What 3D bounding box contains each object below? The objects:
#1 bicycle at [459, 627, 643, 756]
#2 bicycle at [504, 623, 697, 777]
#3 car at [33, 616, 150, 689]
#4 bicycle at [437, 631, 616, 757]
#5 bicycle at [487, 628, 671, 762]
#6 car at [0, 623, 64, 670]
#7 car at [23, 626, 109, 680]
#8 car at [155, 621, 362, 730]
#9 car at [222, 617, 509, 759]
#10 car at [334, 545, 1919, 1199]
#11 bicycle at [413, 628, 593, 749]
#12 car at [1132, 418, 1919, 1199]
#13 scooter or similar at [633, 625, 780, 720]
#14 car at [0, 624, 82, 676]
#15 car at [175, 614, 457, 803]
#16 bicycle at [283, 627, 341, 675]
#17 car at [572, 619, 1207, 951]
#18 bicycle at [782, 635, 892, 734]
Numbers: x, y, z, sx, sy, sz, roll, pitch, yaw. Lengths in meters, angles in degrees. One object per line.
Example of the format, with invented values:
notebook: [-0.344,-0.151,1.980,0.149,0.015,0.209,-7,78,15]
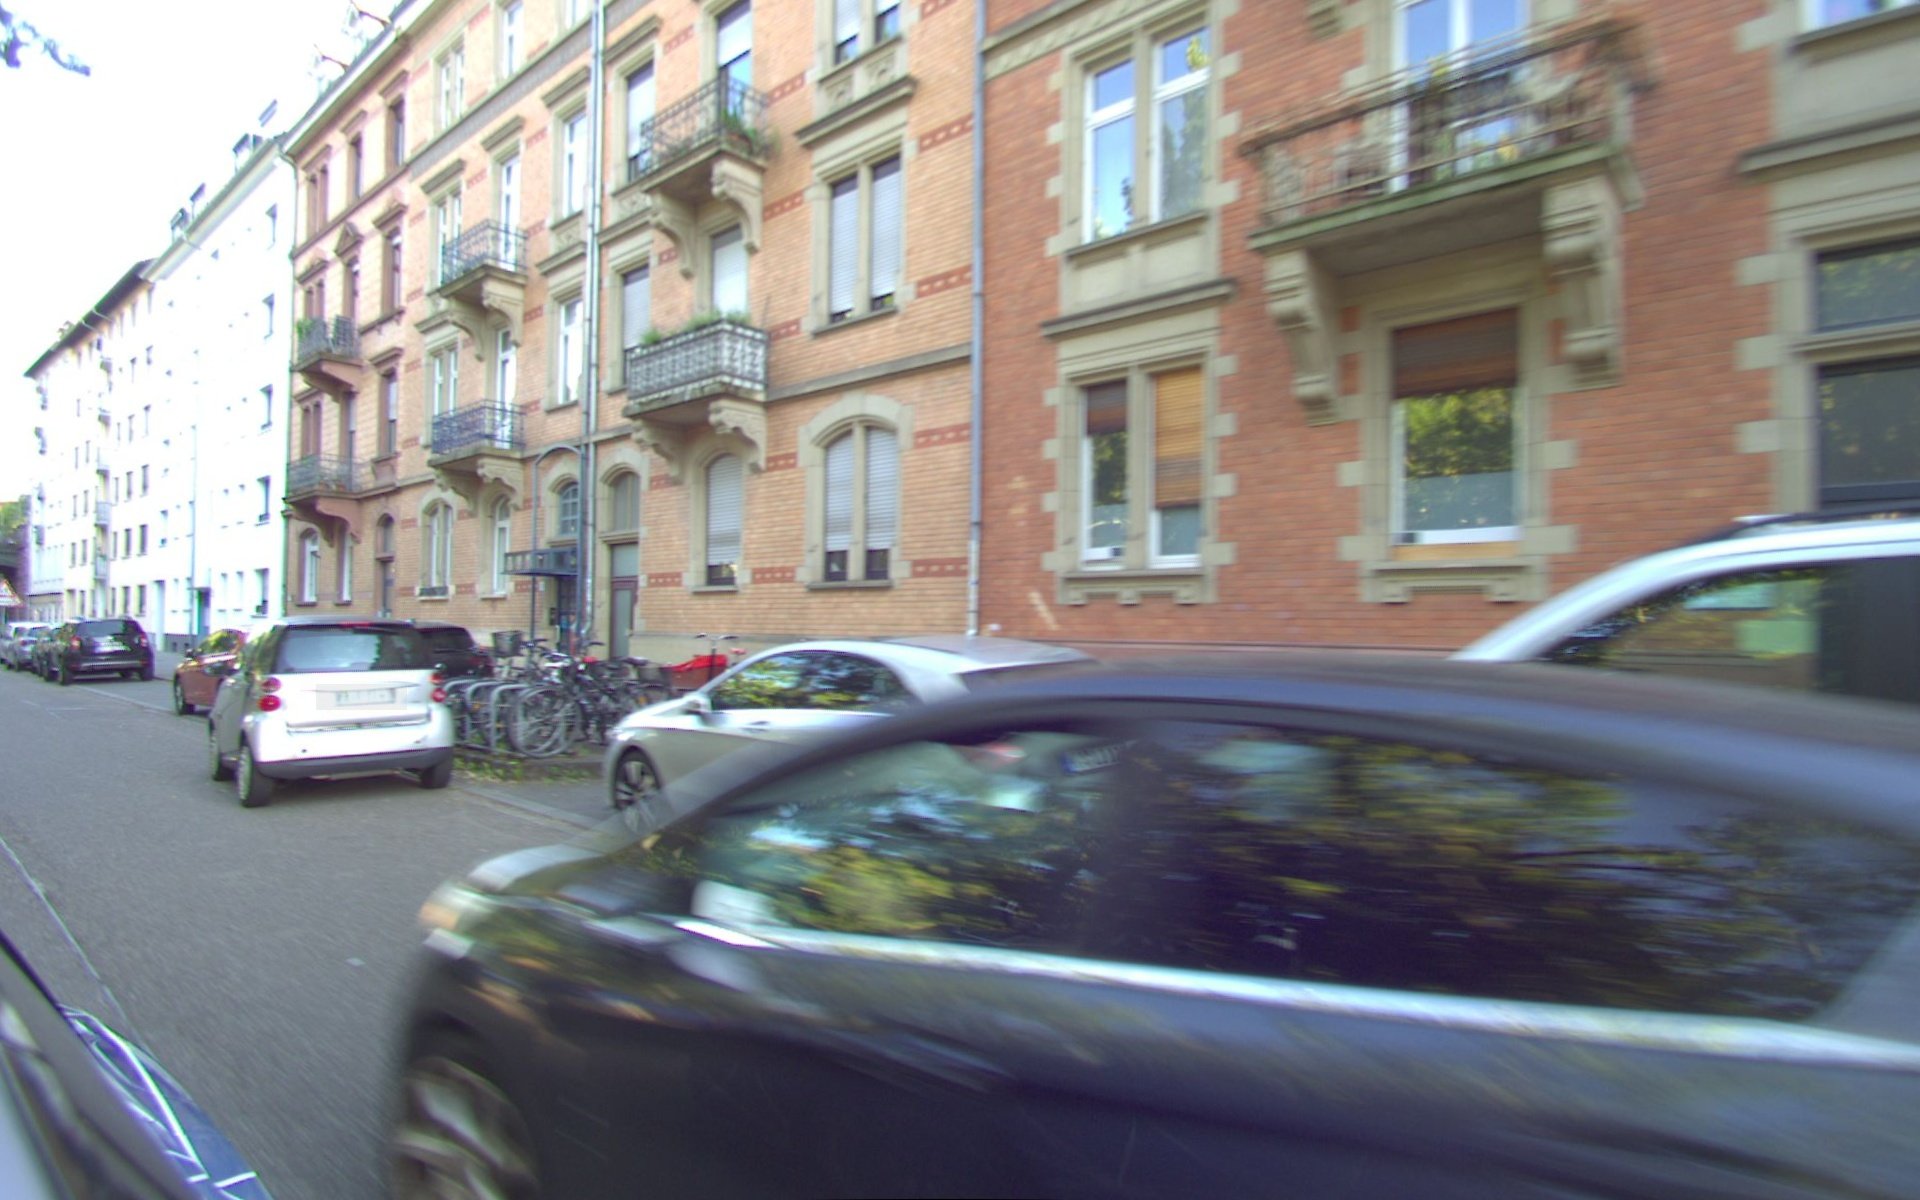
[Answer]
bicycle: [-4.232,0.905,10.578,0.464,1.224,1.744,1,0,41]
bicycle: [-3.469,0.918,9.897,0.495,1.358,1.744,1,0,41]
car: [-22.386,1.293,26.037,4.199,1.719,1.733,-1,-2,42]
bicycle: [-4.627,0.959,10.910,0.441,1.224,1.744,1,0,41]
bicycle: [-3.819,0.912,10.273,0.428,1.224,1.744,1,0,41]
car: [-33.468,1.609,36.198,3.999,1.519,1.651,-1,0,42]
car: [-26.295,1.504,29.726,4.001,1.463,1.597,-2,-1,44]
car: [-11.284,1.113,16.175,3.997,1.475,1.736,-1,0,40]
car: [-7.807,1.006,13.172,4.143,1.558,1.731,-1,-1,36]
car: [0.618,0.746,1.923,3.992,1.475,1.653,-1,-4,36]
bicycle: [-5.186,0.953,11.659,0.439,1.224,2.076,1,0,26]
car: [3.207,0.543,2.962,5.038,1.935,1.973,1,0,41]
scooter or similar: [-3.874,1.042,15.308,2.704,1.231,0.775,1,0,42]
car: [-29.759,1.564,32.692,4.284,1.482,1.650,-1,0,43]
car: [-5.924,0.890,9.234,2.753,1.446,1.487,-1,-4,43]
bicycle: [-17.422,1.352,27.186,2.514,1.216,0.729,-2,-2,43]
car: [-0.701,0.897,6.549,4.209,1.465,1.656,-1,-4,43]
bicycle: [-1.630,1.068,13.198,0.422,1.139,1.770,1,0,-45]
